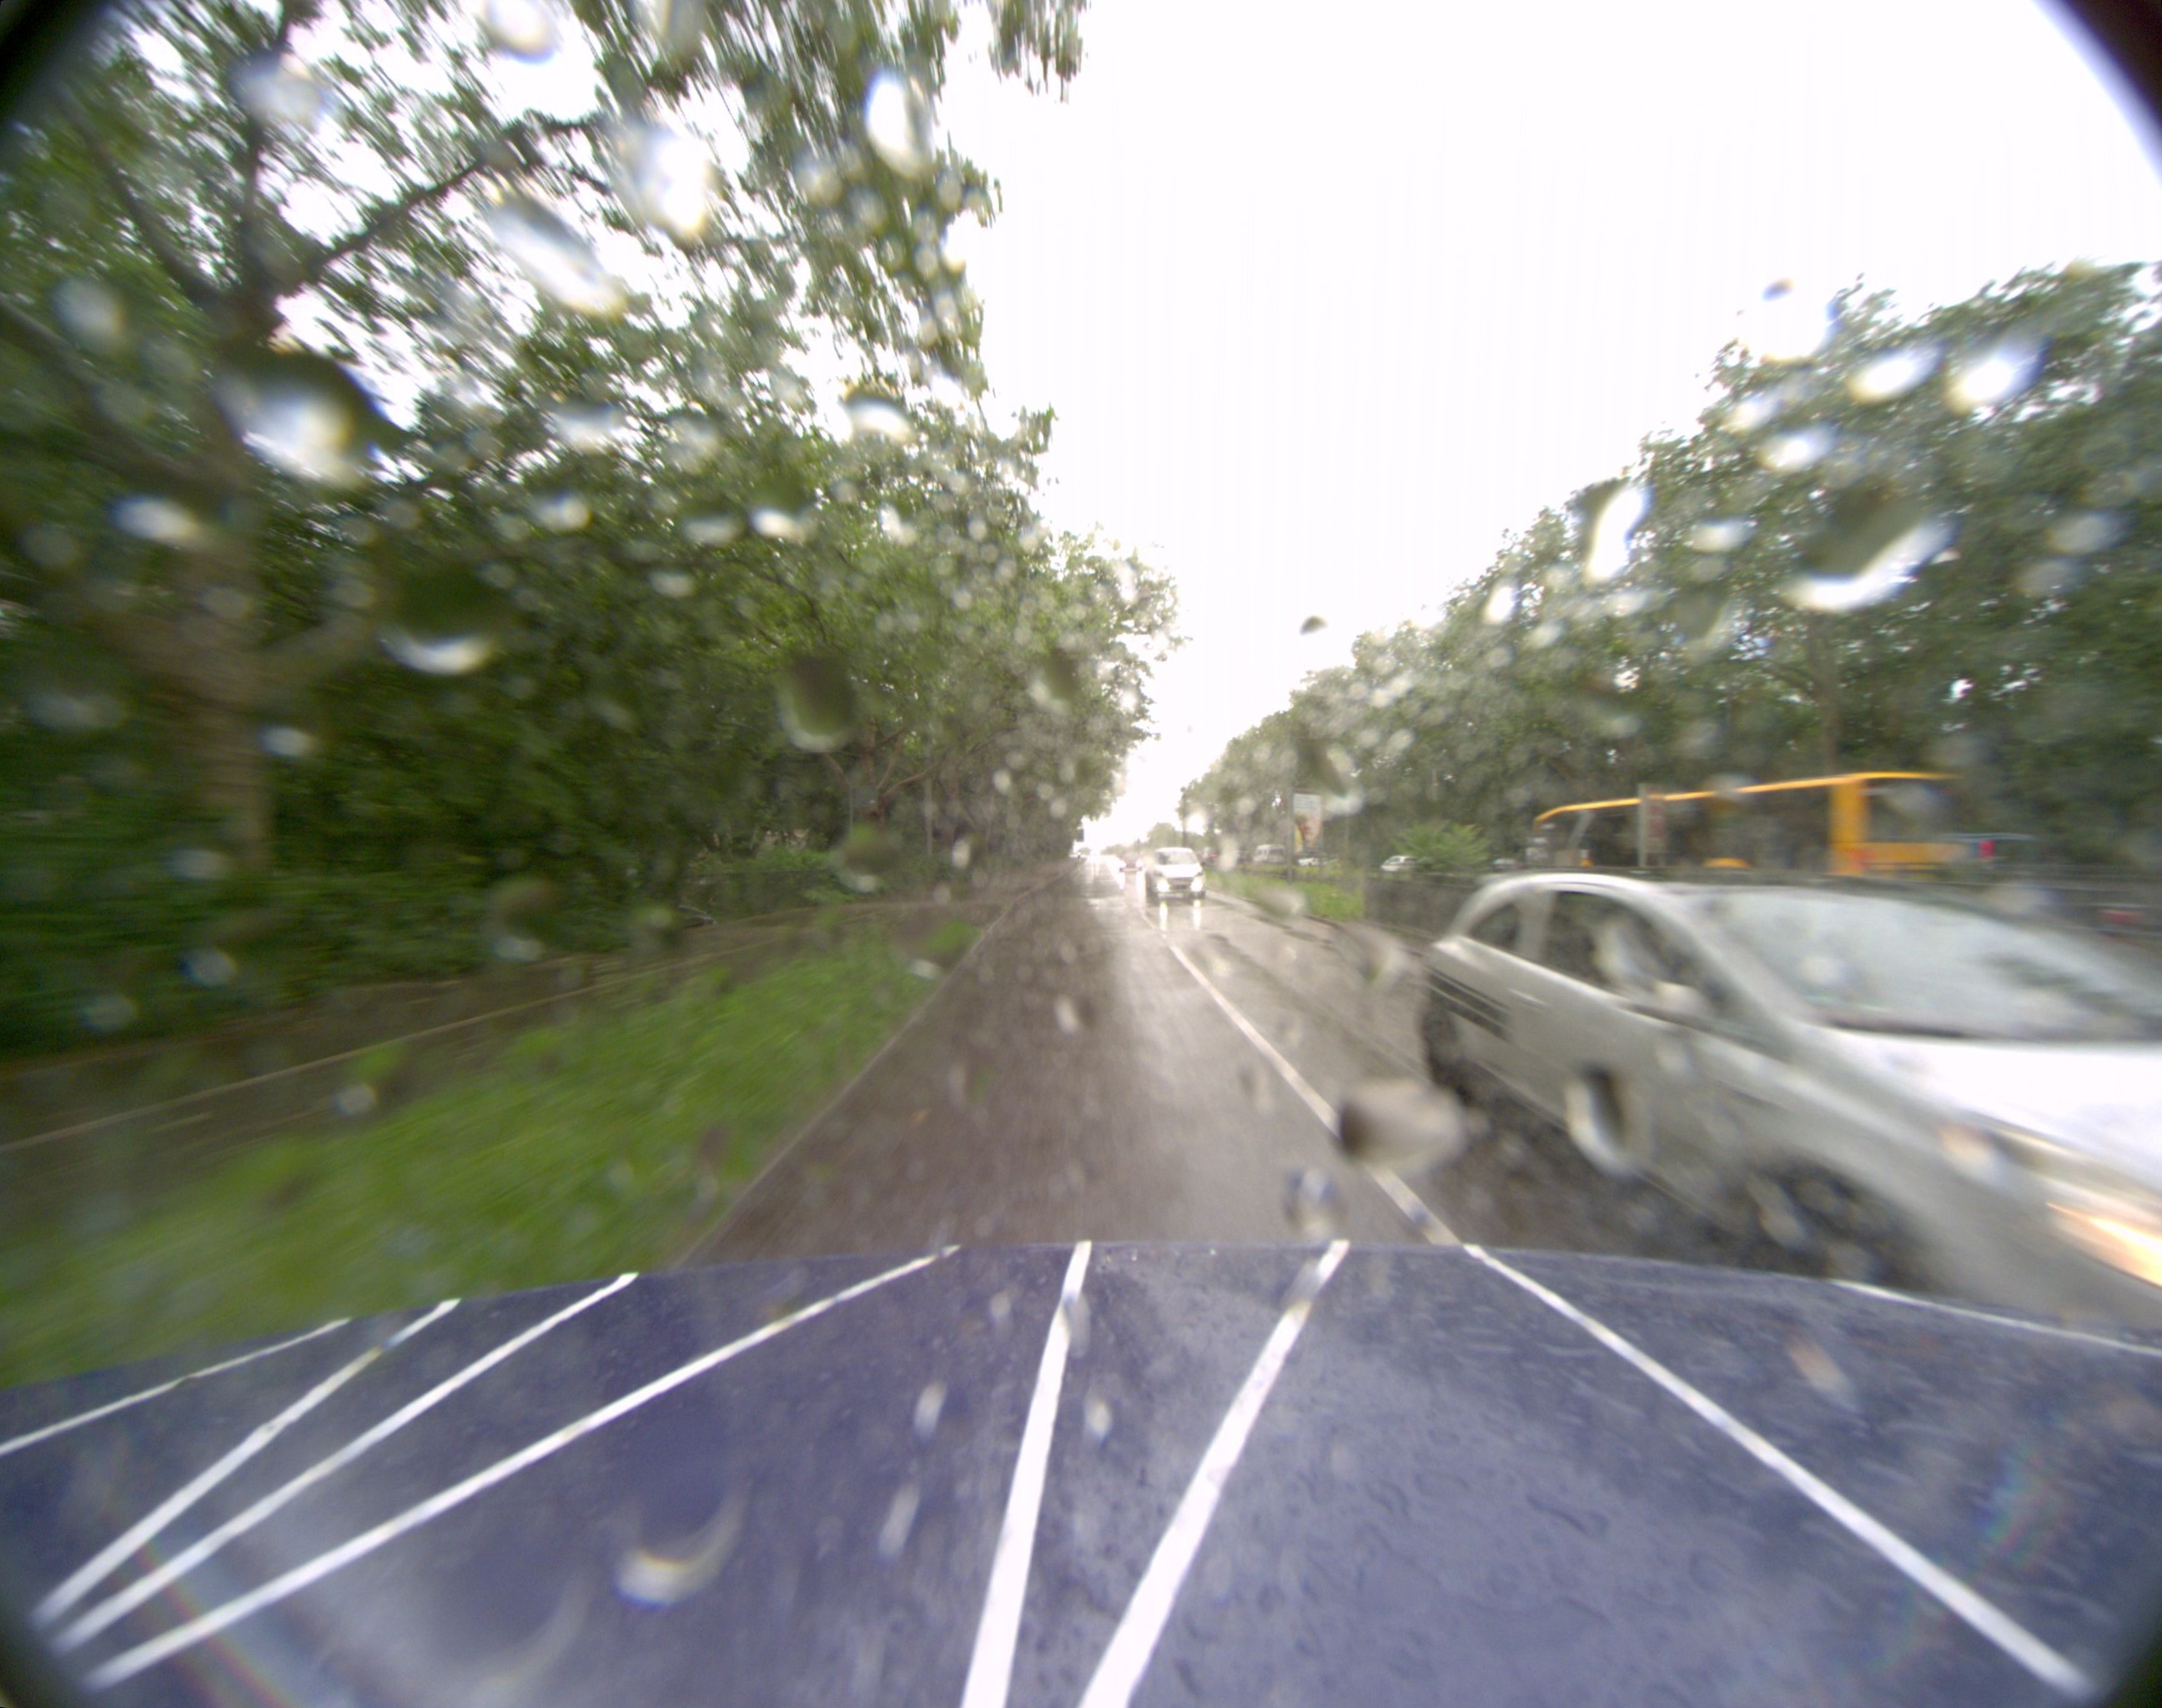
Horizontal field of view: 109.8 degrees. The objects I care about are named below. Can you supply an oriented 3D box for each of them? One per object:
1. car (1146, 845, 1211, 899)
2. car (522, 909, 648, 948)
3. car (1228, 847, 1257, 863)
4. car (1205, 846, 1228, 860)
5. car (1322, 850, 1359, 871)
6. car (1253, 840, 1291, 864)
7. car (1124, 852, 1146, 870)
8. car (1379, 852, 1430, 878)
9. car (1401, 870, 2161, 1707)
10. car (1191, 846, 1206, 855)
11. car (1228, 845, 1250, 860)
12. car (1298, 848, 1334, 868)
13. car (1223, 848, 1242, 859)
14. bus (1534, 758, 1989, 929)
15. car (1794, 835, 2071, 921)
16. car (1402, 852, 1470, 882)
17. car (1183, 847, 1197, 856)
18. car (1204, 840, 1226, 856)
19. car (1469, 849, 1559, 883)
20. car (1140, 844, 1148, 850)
[{"bbox_3d":[3.228,0.543,25.887,1.869,1.614,4.263,-1,1,3],"label":"car"},{"bbox_3d":[-21.481,3.210,33.000,4.273,1.440,1.767,1,0,0],"label":"car"},{"bbox_3d":[17.576,0.039,82.747,2.037,1.648,4.275,1,1,-2],"label":"car"},{"bbox_3d":[17.598,-0.151,98.927,2.019,1.648,4.394,1,1,-1],"label":"car"},{"bbox_3d":[21.931,0.542,64.303,1.766,1.639,3.812,1,1,-1],"label":"car"},{"bbox_3d":[21.386,-0.296,85.477,2.396,2.526,6.564,1,1,-1],"label":"car"},{"bbox_3d":[4.565,0.555,64.854,1.726,1.425,3.851,-1,1,2],"label":"car"},{"bbox_3d":[22.474,0.734,52.917,1.766,1.639,3.812,1,1,-1],"label":"car"},{"bbox_3d":[2.898,0.895,3.008,1.729,1.470,3.805,-1,1,1],"label":"car"},{"bbox_3d":[21.386,-0.625,138.325,2.038,1.543,4.383,-3,1,-1],"label":"car"},{"bbox_3d":[20.977,-0.204,100.867,1.962,1.851,4.640,1,1,0],"label":"car"},{"bbox_3d":[21.650,0.373,70.085,1.755,1.718,4.530,1,1,-1],"label":"car"},{"bbox_3d":[21.294,-0.113,107.047,1.822,1.543,4.024,1,1,0],"label":"car"},{"bbox_3d":[19.242,-0.328,23.508,3.037,3.816,12.242,-2,1,0],"label":"bus"},{"bbox_3d":[23.031,0.560,20.935,2.037,2.081,4.801,1,1,-3],"label":"car"},{"bbox_3d":[22.539,0.802,48.441,2.037,1.741,4.693,1,1,-1],"label":"car"},{"bbox_3d":[21.448,-0.515,149.658,2.038,1.543,4.383,1,1,-1],"label":"car"},{"bbox_3d":[21.658,-0.958,122.864,2.335,2.432,6.138,1,1,0],"label":"car"},{"bbox_3d":[22.789,0.592,40.250,2.037,1.648,4.609,1,1,-1],"label":"car"},{"bbox_3d":[18.223,-2.021,220.629,1.983,1.558,4.767,1,1,-1],"label":"car"}]
